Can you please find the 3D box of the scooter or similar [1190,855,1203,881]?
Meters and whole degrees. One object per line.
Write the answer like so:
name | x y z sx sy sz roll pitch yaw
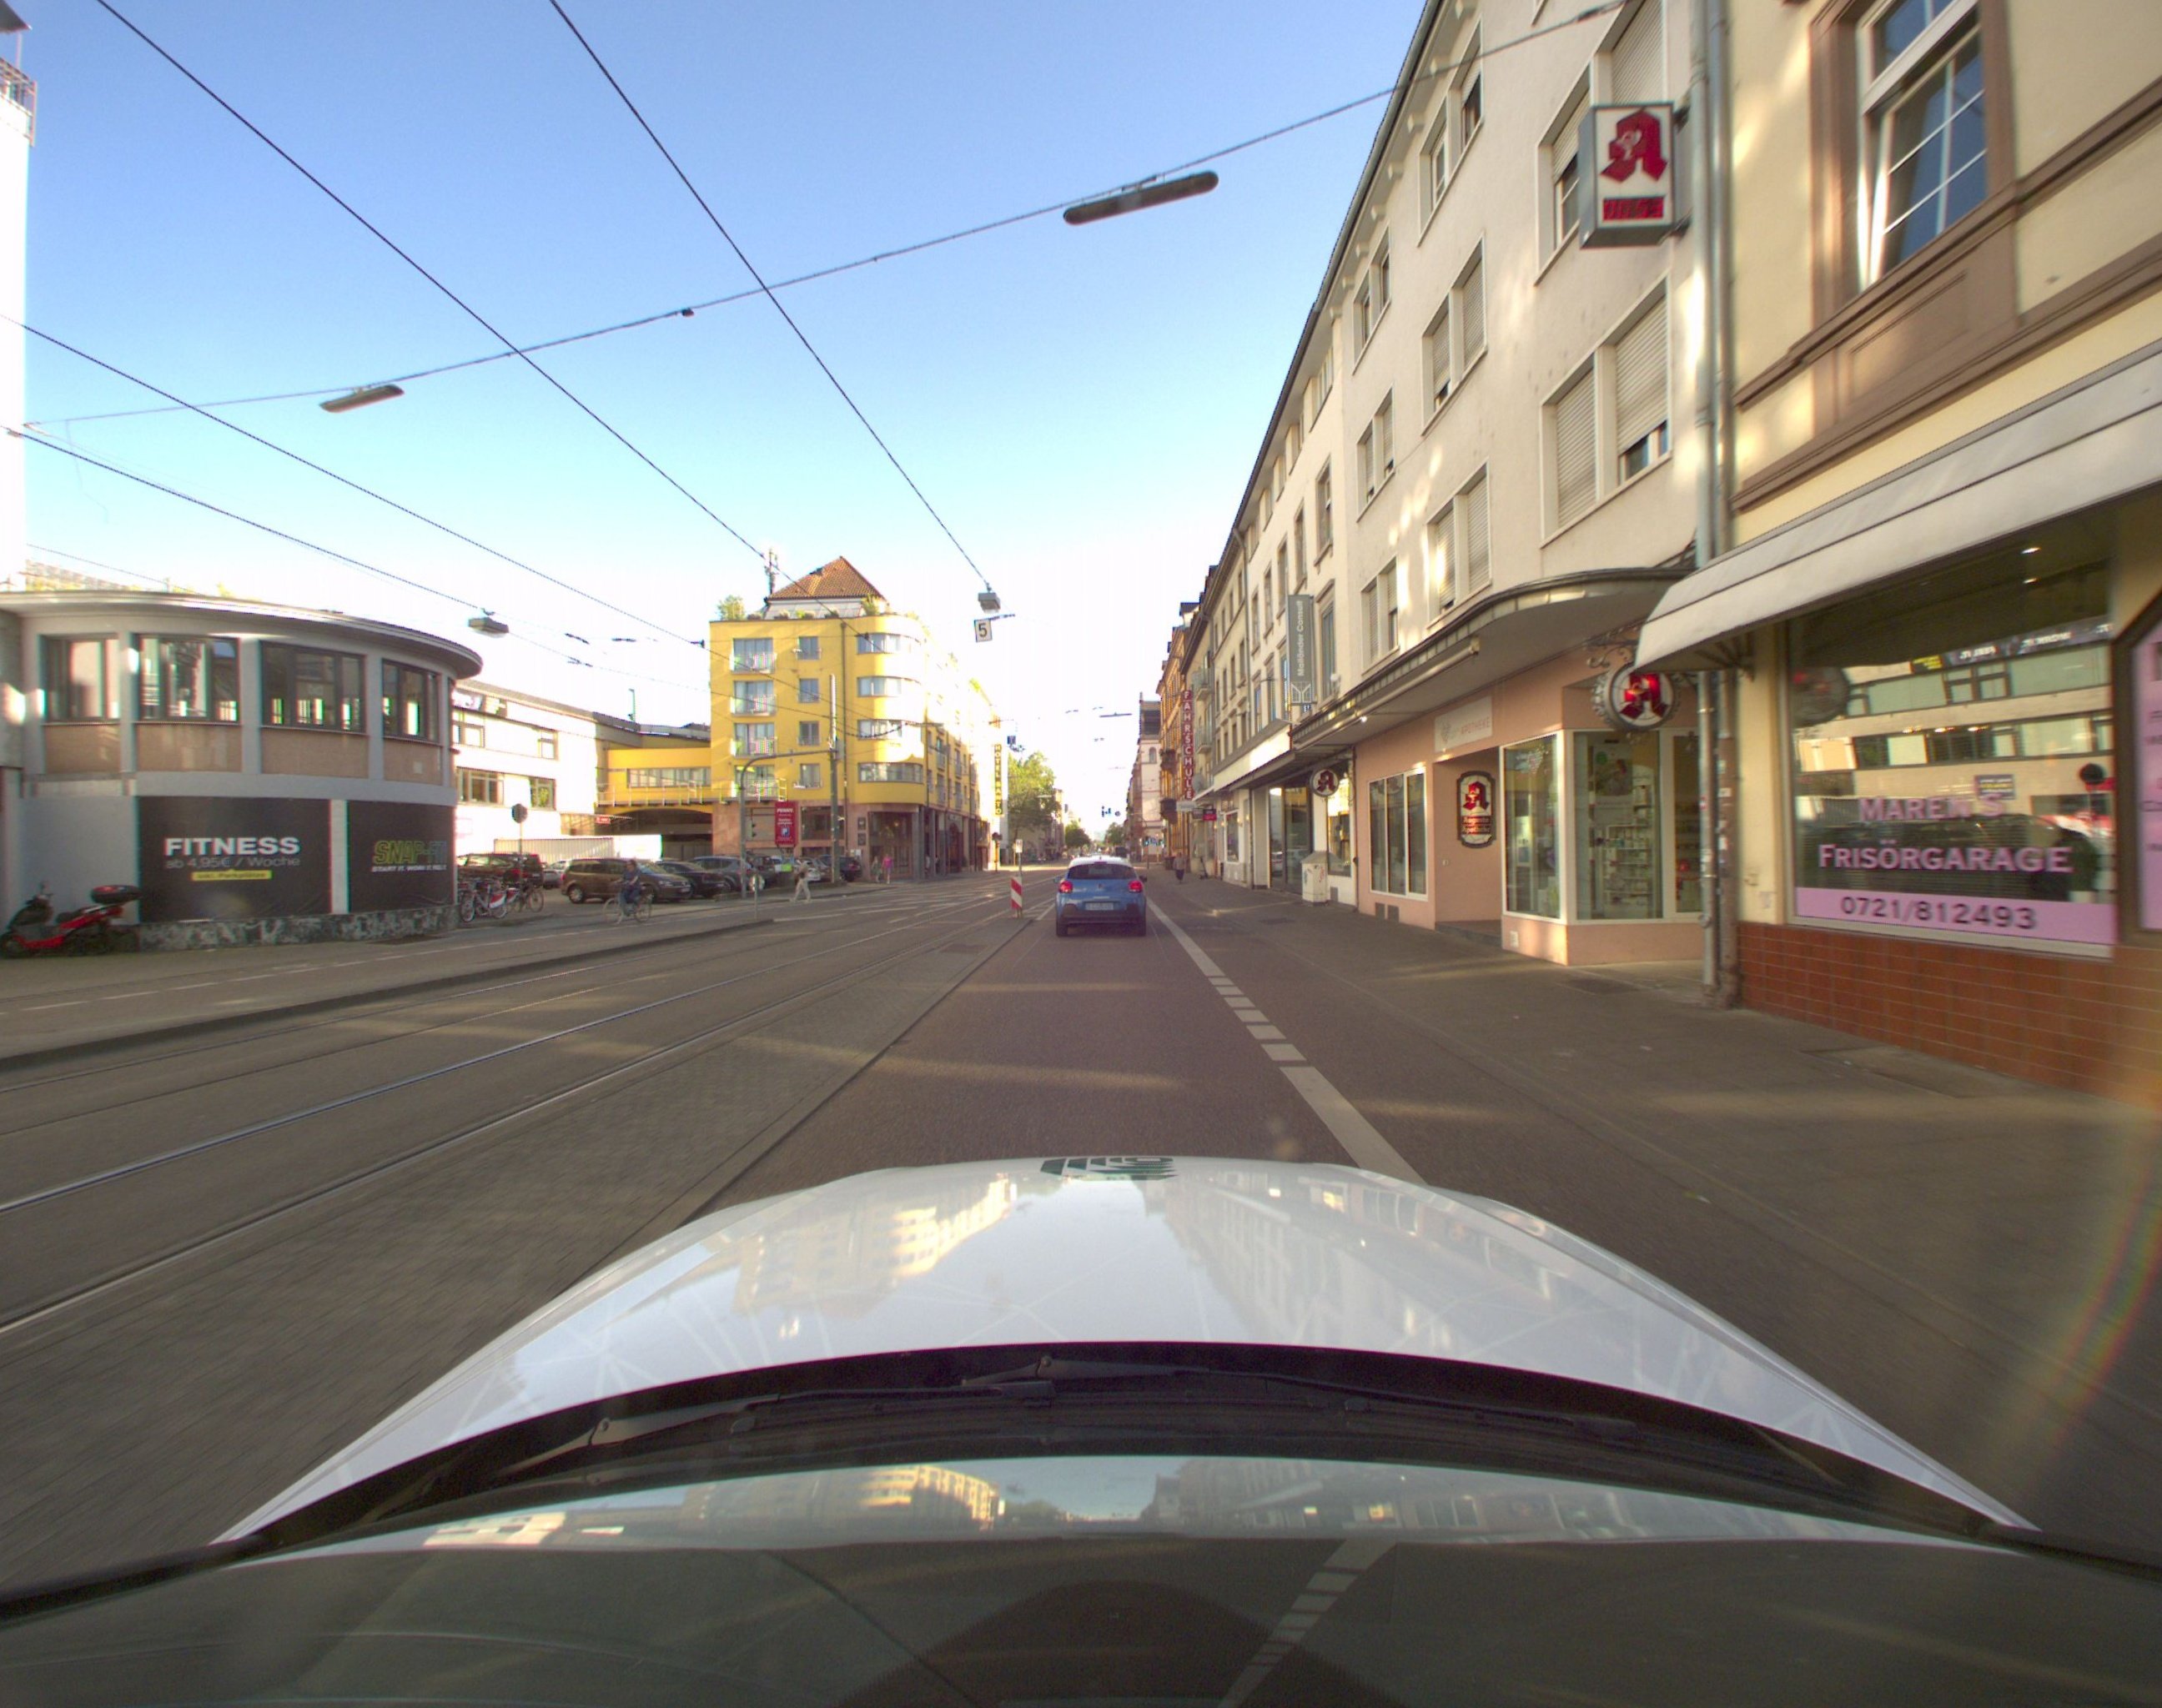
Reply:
scooter or similar | 5.860 0.709 41.161 0.407 1.281 1.289 -1 0 18

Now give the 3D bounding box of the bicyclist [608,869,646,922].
bicyclist | -12.009 1.083 21.574 0.560 1.361 0.719 -1 0 2

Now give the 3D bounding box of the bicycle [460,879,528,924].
bicycle | -15.005 1.186 20.875 0.523 1.036 1.876 -1 0 -6

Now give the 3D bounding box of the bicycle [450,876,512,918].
bicycle | -16.408 1.165 22.321 0.462 1.036 1.876 -1 0 -6

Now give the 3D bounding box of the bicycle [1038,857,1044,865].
bicycle | -5.560 0.928 112.925 0.728 1.088 2.061 -1 0 0

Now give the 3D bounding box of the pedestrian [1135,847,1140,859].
pedestrian | 8.858 -0.146 128.290 0.703 1.782 0.672 1 -2 -1

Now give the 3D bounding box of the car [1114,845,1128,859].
car | 7.168 -0.296 145.758 2.263 2.436 5.722 -1 0 1

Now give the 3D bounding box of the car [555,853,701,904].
car | -16.141 0.841 29.177 4.218 1.763 1.786 0 0 1

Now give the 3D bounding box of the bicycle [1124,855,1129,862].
bicycle | 6.993 0.695 125.474 0.430 0.947 1.760 -1 0 -6

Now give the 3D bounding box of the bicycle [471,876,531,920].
bicycle | -15.844 1.171 22.298 0.462 1.080 1.876 -1 0 -6

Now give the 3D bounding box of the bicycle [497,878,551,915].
bicycle | -16.368 1.236 23.901 1.856 1.036 0.428 -1 0 26

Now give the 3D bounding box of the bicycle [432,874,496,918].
bicycle | -16.940 1.130 22.417 0.462 1.087 1.876 -1 0 -6

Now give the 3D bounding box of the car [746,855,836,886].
car | -15.785 0.908 44.448 4.218 1.548 1.785 -2 -2 1

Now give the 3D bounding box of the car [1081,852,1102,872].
car | 1.117 0.791 82.829 1.985 2.013 4.003 -2 0 3

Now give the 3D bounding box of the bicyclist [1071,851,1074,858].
bicyclist | -1.957 0.114 185.182 0.680 1.483 0.778 -1 0 0

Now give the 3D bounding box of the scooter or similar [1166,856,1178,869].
scooter or similar | 7.135 0.649 63.895 0.788 0.957 0.680 -5 0 0

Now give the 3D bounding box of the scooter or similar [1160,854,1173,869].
scooter or similar | 6.878 0.599 65.471 0.894 1.148 0.547 -5 0 -1

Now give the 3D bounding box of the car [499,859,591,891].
car | -27.731 1.077 42.239 3.567 1.479 1.695 -1 2 -1

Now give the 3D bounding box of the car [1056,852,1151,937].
car | 0.484 0.723 16.576 1.667 1.477 4.002 -1 0 2

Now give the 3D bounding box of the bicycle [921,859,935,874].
bicycle | -13.021 1.080 69.389 0.578 1.203 2.084 -1 0 6

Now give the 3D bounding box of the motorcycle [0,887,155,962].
motorcycle | -18.252 1.264 14.777 1.978 1.263 0.674 -1 0 -4

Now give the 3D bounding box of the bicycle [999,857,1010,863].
bicycle | -13.000 1.065 138.467 1.898 1.034 0.669 -1 0 27

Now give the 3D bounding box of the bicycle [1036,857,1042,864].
bicycle | -6.173 0.939 119.295 0.728 1.065 2.061 -1 0 0

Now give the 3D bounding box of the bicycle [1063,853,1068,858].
bicycle | -4.457 0.519 237.712 1.118 1.319 3.639 -2 0 -4

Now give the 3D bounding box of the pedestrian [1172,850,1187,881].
pedestrian | 4.943 0.570 40.815 0.646 1.560 0.781 -1 0 0

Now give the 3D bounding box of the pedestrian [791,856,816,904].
pedestrian | -10.391 0.966 30.523 0.712 1.764 0.779 -1 0 -5

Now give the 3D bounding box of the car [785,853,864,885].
car | -15.722 0.915 50.029 4.218 1.812 1.786 -1 0 1

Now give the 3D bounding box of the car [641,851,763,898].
car | -15.752 0.825 34.009 4.218 1.812 1.786 -1 0 1

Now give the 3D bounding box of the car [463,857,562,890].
car | -27.716 0.911 39.755 3.626 1.481 1.627 -1 1 -1

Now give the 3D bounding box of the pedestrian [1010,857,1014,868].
pedestrian | -10.146 1.203 120.005 0.541 1.552 0.516 -2 0 0

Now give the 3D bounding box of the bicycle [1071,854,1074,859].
bicycle | -1.935 0.610 185.335 0.690 1.120 2.084 -1 0 1

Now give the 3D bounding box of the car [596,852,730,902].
car | -16.073 0.879 31.432 4.218 1.812 1.786 -1 -1 1

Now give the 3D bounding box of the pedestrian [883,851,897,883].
pedestrian | -11.716 0.772 49.953 0.635 1.946 0.709 -1 0 0

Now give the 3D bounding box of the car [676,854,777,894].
car | -15.781 0.855 36.372 3.675 1.672 1.786 -1 0 1

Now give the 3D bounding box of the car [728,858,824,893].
car | -15.635 1.110 41.874 4.218 1.609 1.785 -2 -2 1

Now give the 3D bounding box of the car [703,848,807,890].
car | -15.639 0.724 39.144 4.218 1.812 1.785 -2 -2 1

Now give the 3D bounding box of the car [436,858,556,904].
car | -23.710 1.055 33.095 3.567 1.748 1.695 -1 0 -1

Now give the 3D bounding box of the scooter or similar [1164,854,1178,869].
scooter or similar | 7.153 0.603 64.533 0.930 1.148 0.650 -5 0 0

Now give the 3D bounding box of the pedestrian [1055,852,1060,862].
pedestrian | -4.512 0.599 157.590 0.678 1.765 1.029 -1 0 12

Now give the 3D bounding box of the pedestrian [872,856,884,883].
pedestrian | -12.500 0.931 50.040 0.570 1.617 0.499 -1 0 0

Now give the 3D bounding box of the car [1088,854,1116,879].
car | 1.273 0.768 51.324 1.661 1.478 4.000 -2 0 0

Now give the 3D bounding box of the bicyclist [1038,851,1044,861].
bicyclist | -5.564 0.272 112.632 0.722 1.381 1.228 0 1 0

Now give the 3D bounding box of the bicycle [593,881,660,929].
bicycle | -12.006 1.326 21.589 0.561 1.123 2.006 -1 0 3

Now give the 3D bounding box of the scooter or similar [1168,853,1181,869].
scooter or similar | 7.240 0.526 62.953 0.788 1.148 0.790 -5 0 0
